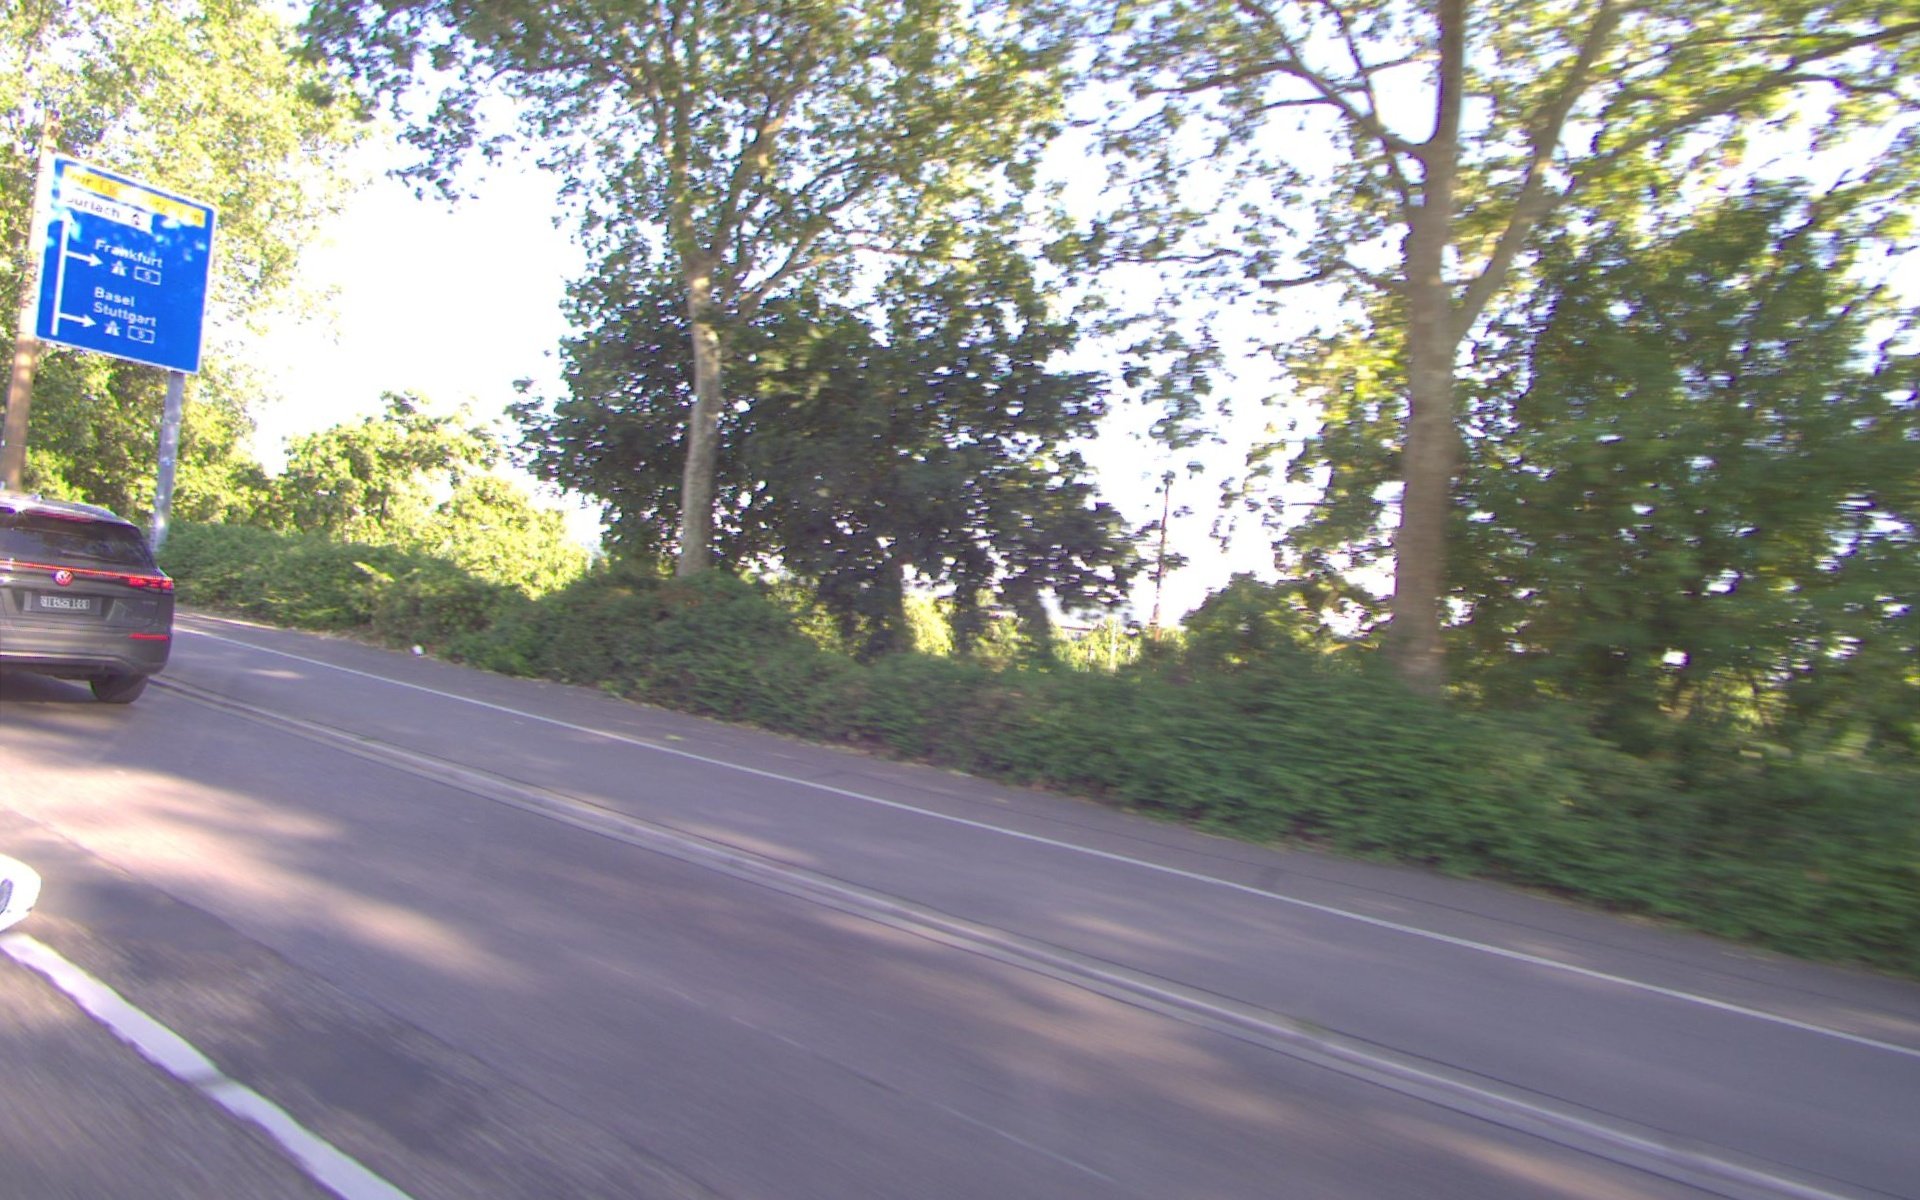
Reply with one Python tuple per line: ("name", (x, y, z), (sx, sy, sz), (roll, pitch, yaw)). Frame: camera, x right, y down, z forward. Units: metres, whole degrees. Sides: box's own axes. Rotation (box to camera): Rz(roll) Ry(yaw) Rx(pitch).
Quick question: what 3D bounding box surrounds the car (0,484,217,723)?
("car", (-8.493, -0.125, 8.550), (4.366, 1.680, 1.849), (6, -3, 31))
